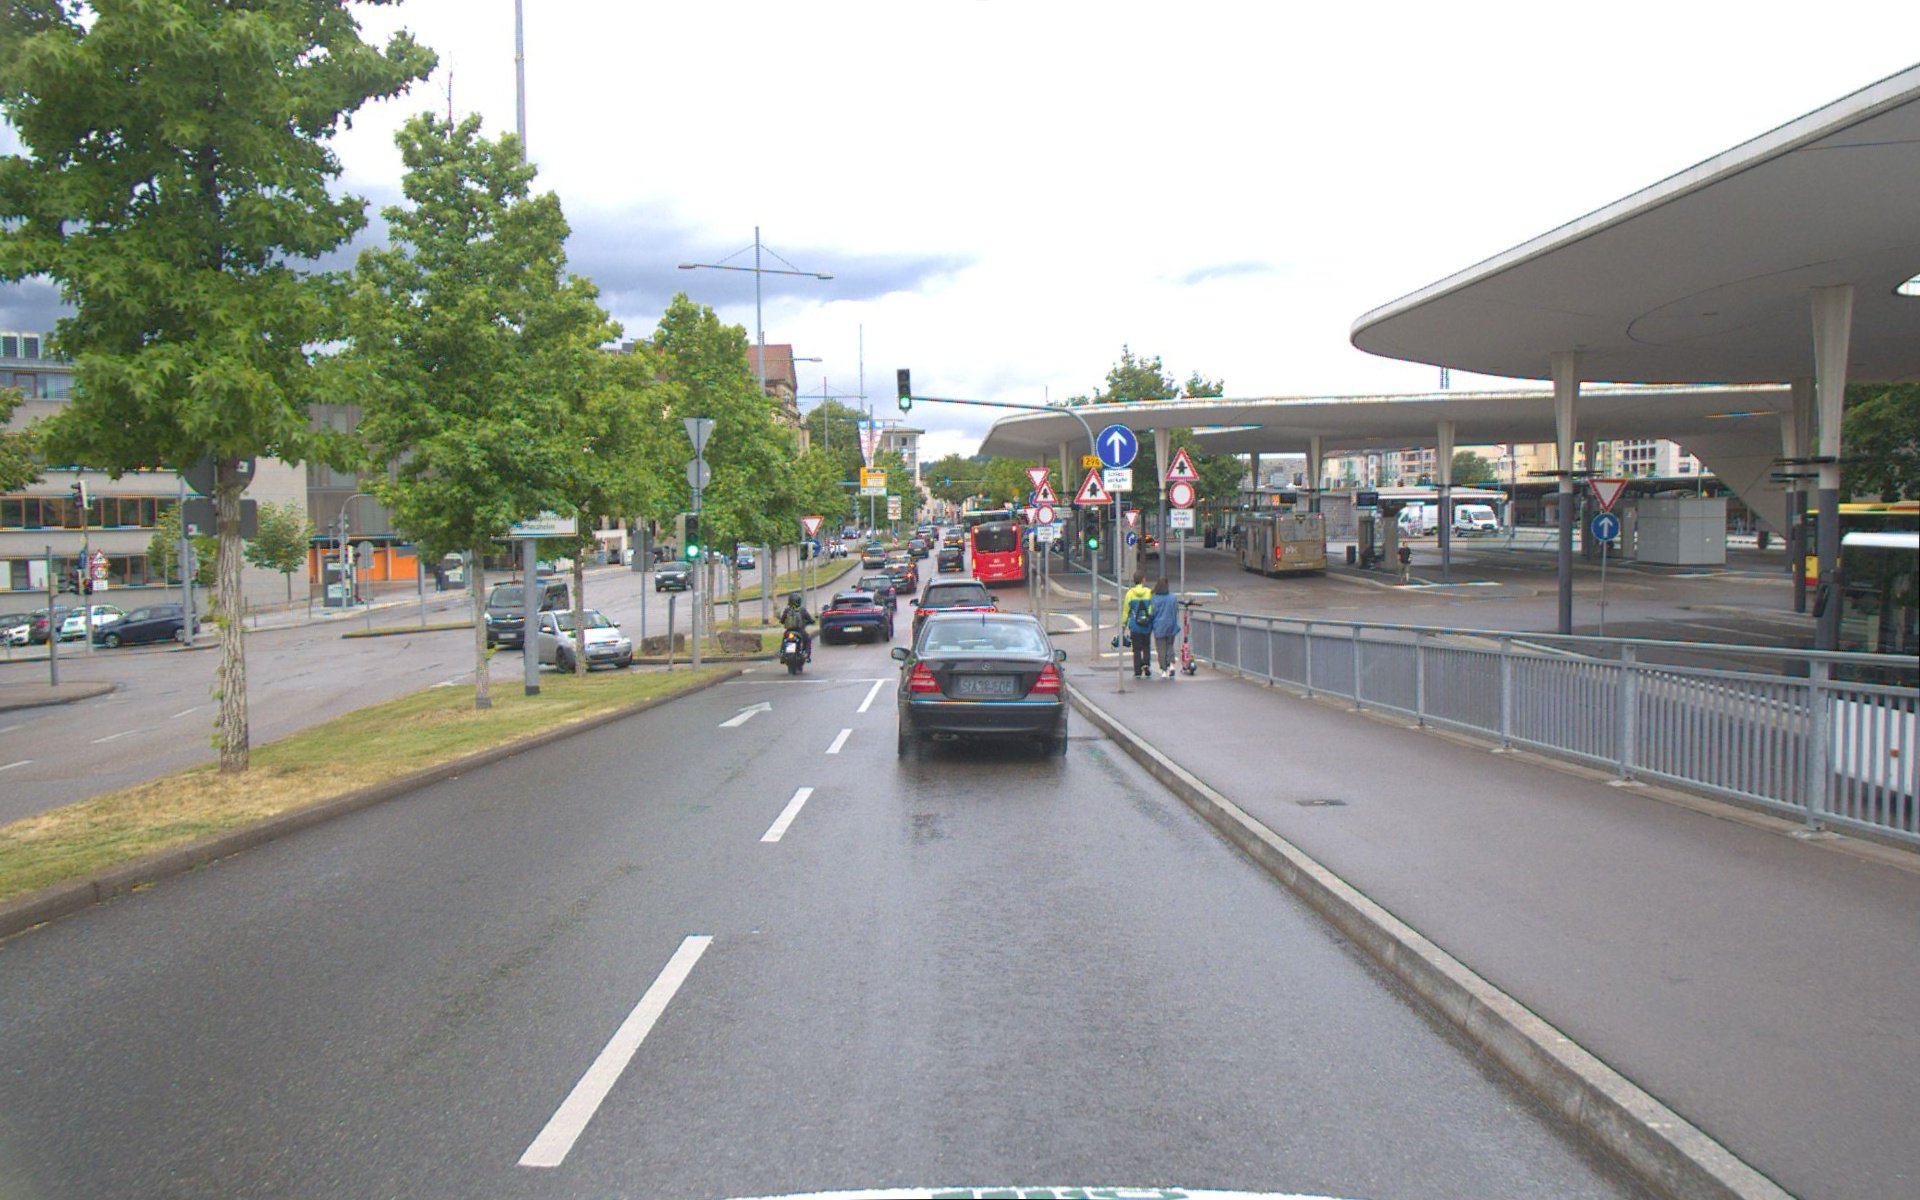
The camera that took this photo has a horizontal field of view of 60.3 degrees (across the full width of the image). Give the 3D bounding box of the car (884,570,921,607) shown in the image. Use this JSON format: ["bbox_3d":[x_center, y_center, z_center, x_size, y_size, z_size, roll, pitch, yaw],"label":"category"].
[{"bbox_3d":[-2.853,-0.601,82.434,1.543,1.530,3.873,-4,3,1],"label":"car"}]

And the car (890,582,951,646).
[{"bbox_3d":[-1.175,0.401,50.915,1.706,1.593,3.872,-4,3,0],"label":"car"}]

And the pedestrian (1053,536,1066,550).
[{"bbox_3d":[7.291,-4.192,121.295,0.894,1.002,0.634,-1,-1,14],"label":"pedestrian"}]

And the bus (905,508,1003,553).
[{"bbox_3d":[-0.727,-6.779,162.024,2.820,4.056,11.696,-4,3,-39],"label":"bus"}]

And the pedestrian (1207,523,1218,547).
[{"bbox_3d":[18.587,-4.807,121.653,0.569,1.746,0.559,1,-1,35],"label":"pedestrian"}]

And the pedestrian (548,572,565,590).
[{"bbox_3d":[-30.744,-1.466,125.919,0.955,1.289,0.850,3,4,20],"label":"pedestrian"}]

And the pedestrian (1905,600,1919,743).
[{"bbox_3d":[13.336,0.983,22.472,0.580,1.919,0.640,-3,5,-37],"label":"pedestrian"}]

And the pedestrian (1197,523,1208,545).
[{"bbox_3d":[17.833,-4.856,121.685,0.568,1.606,0.560,1,-1,29],"label":"pedestrian"}]

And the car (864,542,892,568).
[{"bbox_3d":[-5.798,-3.146,117.244,1.828,1.713,3.999,1,0,-1],"label":"car"}]

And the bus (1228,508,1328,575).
[{"bbox_3d":[16.324,-3.141,85.717,2.666,3.095,12.092,-3,3,0],"label":"bus"}]

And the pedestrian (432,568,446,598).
[{"bbox_3d":[-31.312,-1.024,99.405,0.464,1.712,0.764,-2,3,6],"label":"pedestrian"}]

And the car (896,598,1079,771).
[{"bbox_3d":[0.229,0.775,17.335,1.663,1.487,4.303,-1,1,-1],"label":"car"}]

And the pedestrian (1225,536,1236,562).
[{"bbox_3d":[18.107,-3.395,110.868,0.549,1.721,0.613,-2,3,-7],"label":"pedestrian"}]

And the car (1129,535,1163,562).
[{"bbox_3d":[12.333,-3.446,109.859,1.677,1.690,4.240,-1,3,-1],"label":"car"}]

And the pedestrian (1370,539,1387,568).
[{"bbox_3d":[21.010,-2.318,83.086,0.776,1.401,0.634,-2,3,17],"label":"pedestrian"}]

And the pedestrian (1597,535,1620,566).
[{"bbox_3d":[33.461,-2.553,85.318,0.779,1.613,0.907,0,2,-7],"label":"pedestrian"}]

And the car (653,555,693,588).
[{"bbox_3d":[-17.365,-1.765,100.218,1.871,1.690,4.856,-2,4,-4],"label":"car"}]

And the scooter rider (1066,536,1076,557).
[{"bbox_3d":[8.121,-3.912,121.167,0.579,1.515,0.765,-1,2,13],"label":"scooter rider"}]

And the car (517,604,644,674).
[{"bbox_3d":[-9.041,0.905,39.187,1.618,1.473,3.830,-4,1,-34],"label":"car"}]

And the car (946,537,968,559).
[{"bbox_3d":[-0.265,-4.482,142.466,1.828,1.713,3.999,1,0,-1],"label":"car"}]

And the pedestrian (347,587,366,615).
[{"bbox_3d":[-31.696,0.035,86.871,0.664,1.416,0.721,-2,2,-2],"label":"pedestrian"}]

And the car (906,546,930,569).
[{"bbox_3d":[-3.353,-3.406,132.726,1.828,1.713,3.999,1,0,-1],"label":"car"}]

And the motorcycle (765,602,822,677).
[{"bbox_3d":[-3.298,0.768,32.973,0.776,1.283,1.856,-3,3,3],"label":"motorcycle"}]

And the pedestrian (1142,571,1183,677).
[{"bbox_3d":[3.304,0.399,26.984,0.577,1.700,0.580,1,-2,-1],"label":"pedestrian"}]

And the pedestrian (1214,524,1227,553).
[{"bbox_3d":[18.566,-4.404,118.062,0.709,2.049,0.669,1,-1,26],"label":"pedestrian"}]

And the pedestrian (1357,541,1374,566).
[{"bbox_3d":[20.879,-2.394,85.097,0.776,1.247,0.634,-2,3,17],"label":"pedestrian"}]

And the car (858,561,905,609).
[{"bbox_3d":[-3.148,-0.636,67.011,1.642,1.651,3.872,-4,3,0],"label":"car"}]

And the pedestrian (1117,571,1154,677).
[{"bbox_3d":[2.854,0.391,26.972,0.512,1.699,0.580,-1,0,-1],"label":"pedestrian"}]

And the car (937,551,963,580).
[{"bbox_3d":[-0.632,-2.224,105.740,1.544,1.593,3.872,-4,3,0],"label":"car"}]

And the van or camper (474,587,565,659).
[{"bbox_3d":[-14.234,0.736,53.759,2.176,2.108,5.273,-3,0,-9],"label":"van or camper"}]

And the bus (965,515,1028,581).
[{"bbox_3d":[1.984,-3.003,93.430,3.224,3.345,8.853,-3,3,1],"label":"bus"}]

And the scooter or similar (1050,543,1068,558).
[{"bbox_3d":[7.271,-3.660,121.367,1.216,1.030,0.765,-2,2,14],"label":"scooter or similar"}]

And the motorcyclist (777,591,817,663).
[{"bbox_3d":[-3.260,0.529,33.137,0.628,1.370,0.689,-3,3,3],"label":"motorcyclist"}]

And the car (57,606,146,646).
[{"bbox_3d":[-39.537,1.179,76.266,1.593,1.521,3.586,-2,3,15],"label":"car"}]

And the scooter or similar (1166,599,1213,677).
[{"bbox_3d":[3.822,0.618,27.613,0.454,1.242,1.859,-2,0,-1],"label":"scooter or similar"}]

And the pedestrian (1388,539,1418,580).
[{"bbox_3d":[19.101,-1.734,71.354,0.709,1.712,1.013,-5,3,-26],"label":"pedestrian"}]

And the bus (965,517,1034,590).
[{"bbox_3d":[1.971,-2.554,86.213,3.219,3.348,10.882,-3,3,1],"label":"bus"}]

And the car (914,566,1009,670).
[{"bbox_3d":[0.022,0.335,38.004,1.918,1.907,4.875,-4,3,0],"label":"car"}]

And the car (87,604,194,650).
[{"bbox_3d":[-33.856,1.100,68.447,3.605,1.463,1.822,-5,4,-18],"label":"car"}]

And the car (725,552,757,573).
[{"bbox_3d":[-17.724,-3.056,133.862,1.809,1.530,4.921,-2,3,1],"label":"car"}]

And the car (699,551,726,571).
[{"bbox_3d":[-22.434,-3.563,150.113,1.809,1.681,4.420,-2,3,0],"label":"car"}]

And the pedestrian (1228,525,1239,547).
[{"bbox_3d":[20.147,-4.693,121.798,0.569,1.606,0.559,1,-1,35],"label":"pedestrian"}]

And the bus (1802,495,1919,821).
[{"bbox_3d":[11.631,0.935,13.594,2.787,3.419,12.430,1,4,-1],"label":"bus"}]

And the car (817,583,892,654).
[{"bbox_3d":[-2.973,0.492,47.331,1.779,1.597,4.405,-4,3,0],"label":"car"}]

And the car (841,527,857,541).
[{"bbox_3d":[-13.943,-8.303,207.927,1.744,1.593,3.431,-4,3,0],"label":"car"}]

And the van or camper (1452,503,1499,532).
[{"bbox_3d":[40.882,-6.539,131.373,1.953,2.139,5.480,1,1,-1],"label":"van or camper"}]

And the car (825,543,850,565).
[{"bbox_3d":[-10.867,-4.067,146.427,1.614,1.836,3.626,2,0,-14],"label":"car"}]

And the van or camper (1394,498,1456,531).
[{"bbox_3d":[38.659,-7.131,137.657,4.514,2.602,2.118,1,1,-2],"label":"van or camper"}]

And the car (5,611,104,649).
[{"bbox_3d":[-43.624,1.408,79.742,1.731,1.521,3.773,0,4,38],"label":"car"}]

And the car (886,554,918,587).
[{"bbox_3d":[-3.260,-1.672,93.230,1.544,1.593,3.872,-4,3,0],"label":"car"}]

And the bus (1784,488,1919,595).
[{"bbox_3d":[31.012,-1.931,53.032,2.732,3.313,12.139,-2,3,-2],"label":"bus"}]
